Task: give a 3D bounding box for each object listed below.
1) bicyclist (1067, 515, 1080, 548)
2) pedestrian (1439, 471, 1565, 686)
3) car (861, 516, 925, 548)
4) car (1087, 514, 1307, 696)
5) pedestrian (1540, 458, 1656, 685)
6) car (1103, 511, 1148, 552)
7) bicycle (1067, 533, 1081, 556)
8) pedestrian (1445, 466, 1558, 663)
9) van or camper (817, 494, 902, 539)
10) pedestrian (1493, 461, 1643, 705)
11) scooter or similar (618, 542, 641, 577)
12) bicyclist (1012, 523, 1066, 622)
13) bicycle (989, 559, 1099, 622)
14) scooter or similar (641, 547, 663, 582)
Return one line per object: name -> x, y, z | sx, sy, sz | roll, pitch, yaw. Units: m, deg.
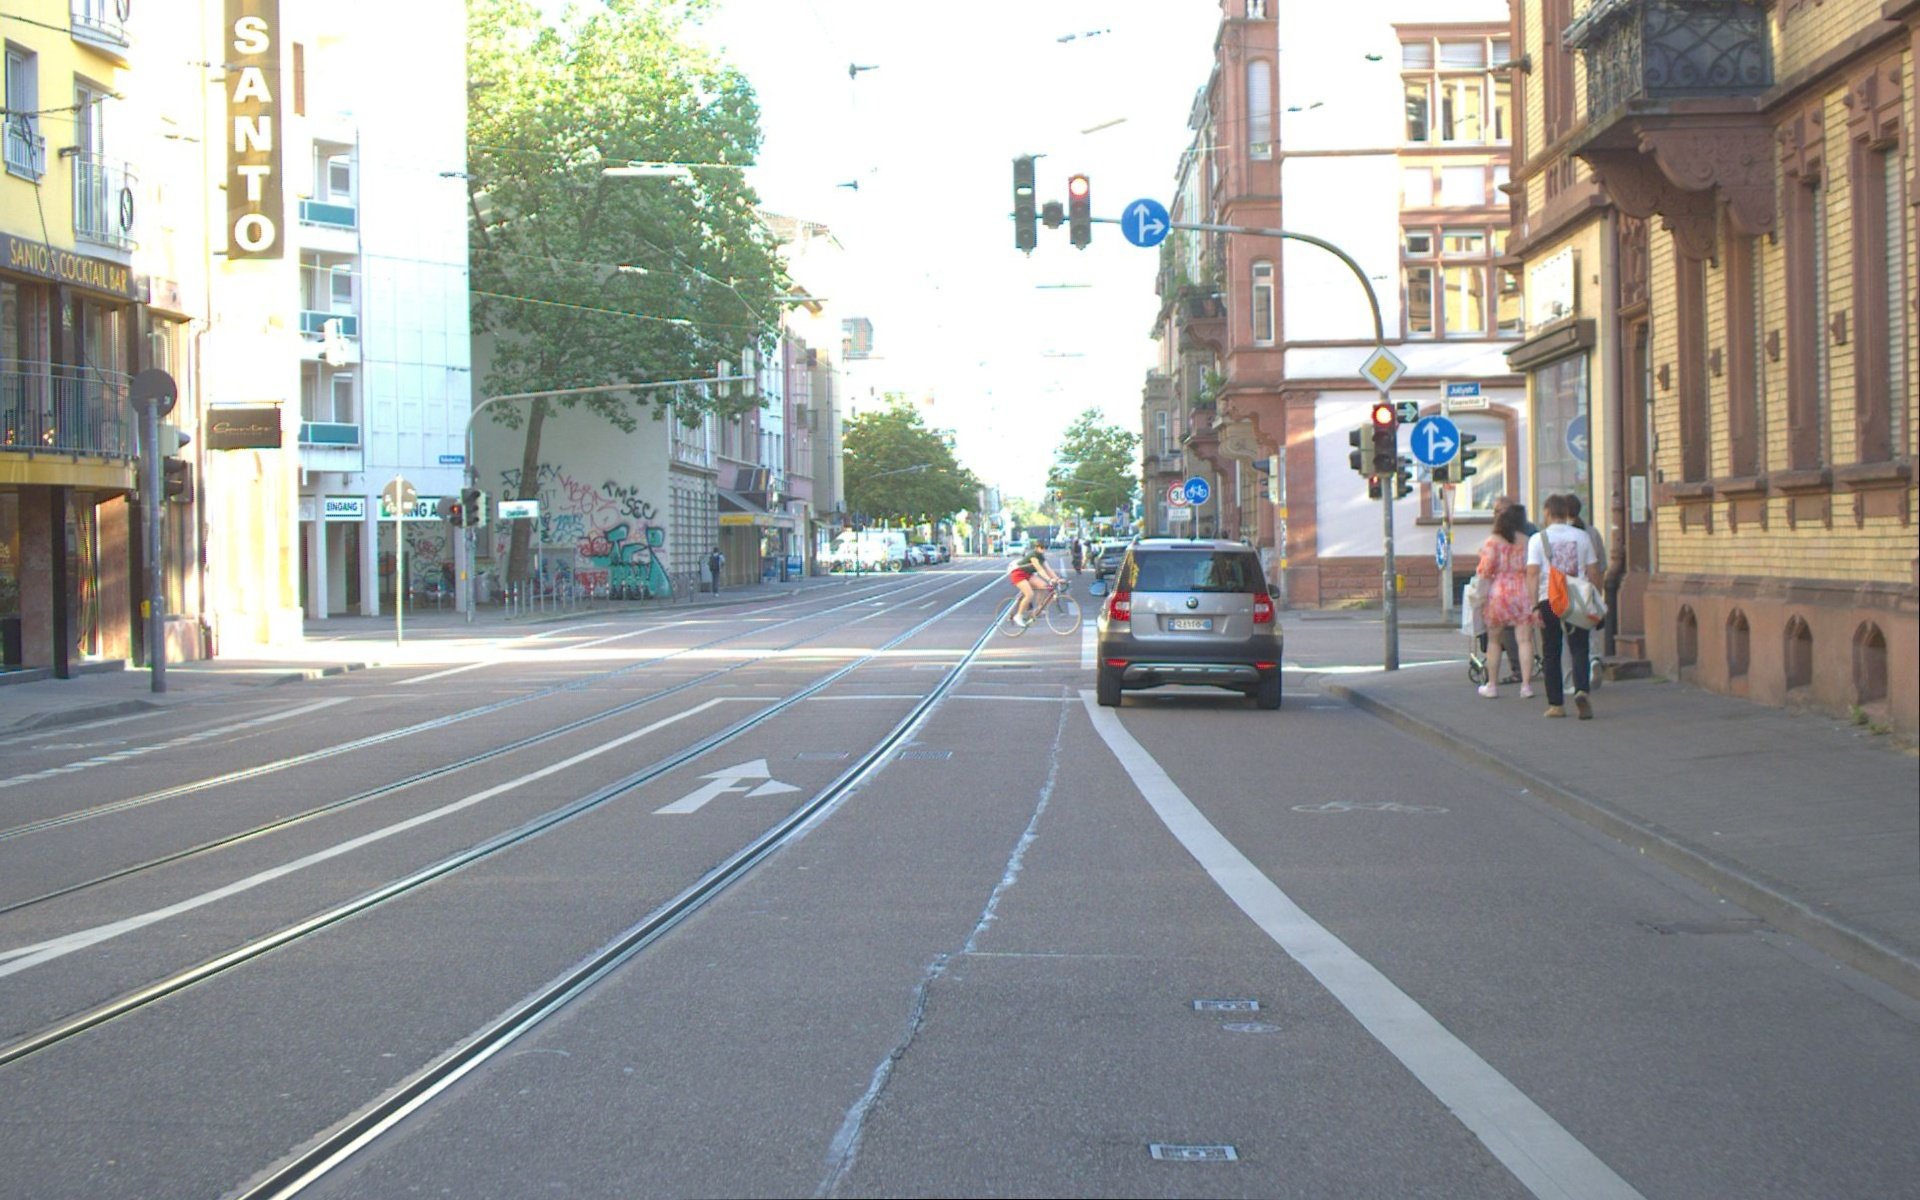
bicyclist -> 5.475, -3.299, 165.951 | 0.575, 1.548, 0.595 | -3, 2, 3
pedestrian -> 4.802, -0.198, 30.509 | 0.805, 1.793, 0.762 | -7, 2, 1
car -> -4.716, -4.809, 243.107 | 3.986, 2.006, 2.001 | -3, 2, -23
car -> 2.313, -0.002, 34.451 | 1.993, 1.612, 4.000 | -1, 2, 2
pedestrian -> 5.591, -0.258, 30.149 | 0.690, 1.902, 0.670 | -7, 2, 1
car -> 7.565, -3.132, 156.773 | 1.950, 1.678, 4.000 | -3, 2, 3
bicycle -> 5.507, -2.673, 165.977 | 0.575, 1.026, 1.895 | -3, 2, 3
pedestrian -> 5.232, -0.357, 33.250 | 0.805, 1.793, 0.761 | -7, 2, 2
van or camper -> -6.036, -5.021, 207.339 | 4.635, 2.554, 2.000 | -3, 2, -29
pedestrian -> 4.768, -0.153, 27.026 | 0.805, 1.793, 1.092 | -7, 2, 1
scooter or similar -> -10.446, -1.294, 108.677 | 0.516, 1.042, 1.478 | -3, 2, 0
bicyclist -> 1.313, -0.457, 57.209 | 0.740, 1.628, 0.607 | 0, 1, 17
bicycle -> 1.400, -0.156, 57.194 | 1.715, 1.031, 0.598 | 0, 1, 17
scooter or similar -> -9.742, -1.128, 108.692 | 0.516, 1.053, 1.478 | -3, 2, 0
